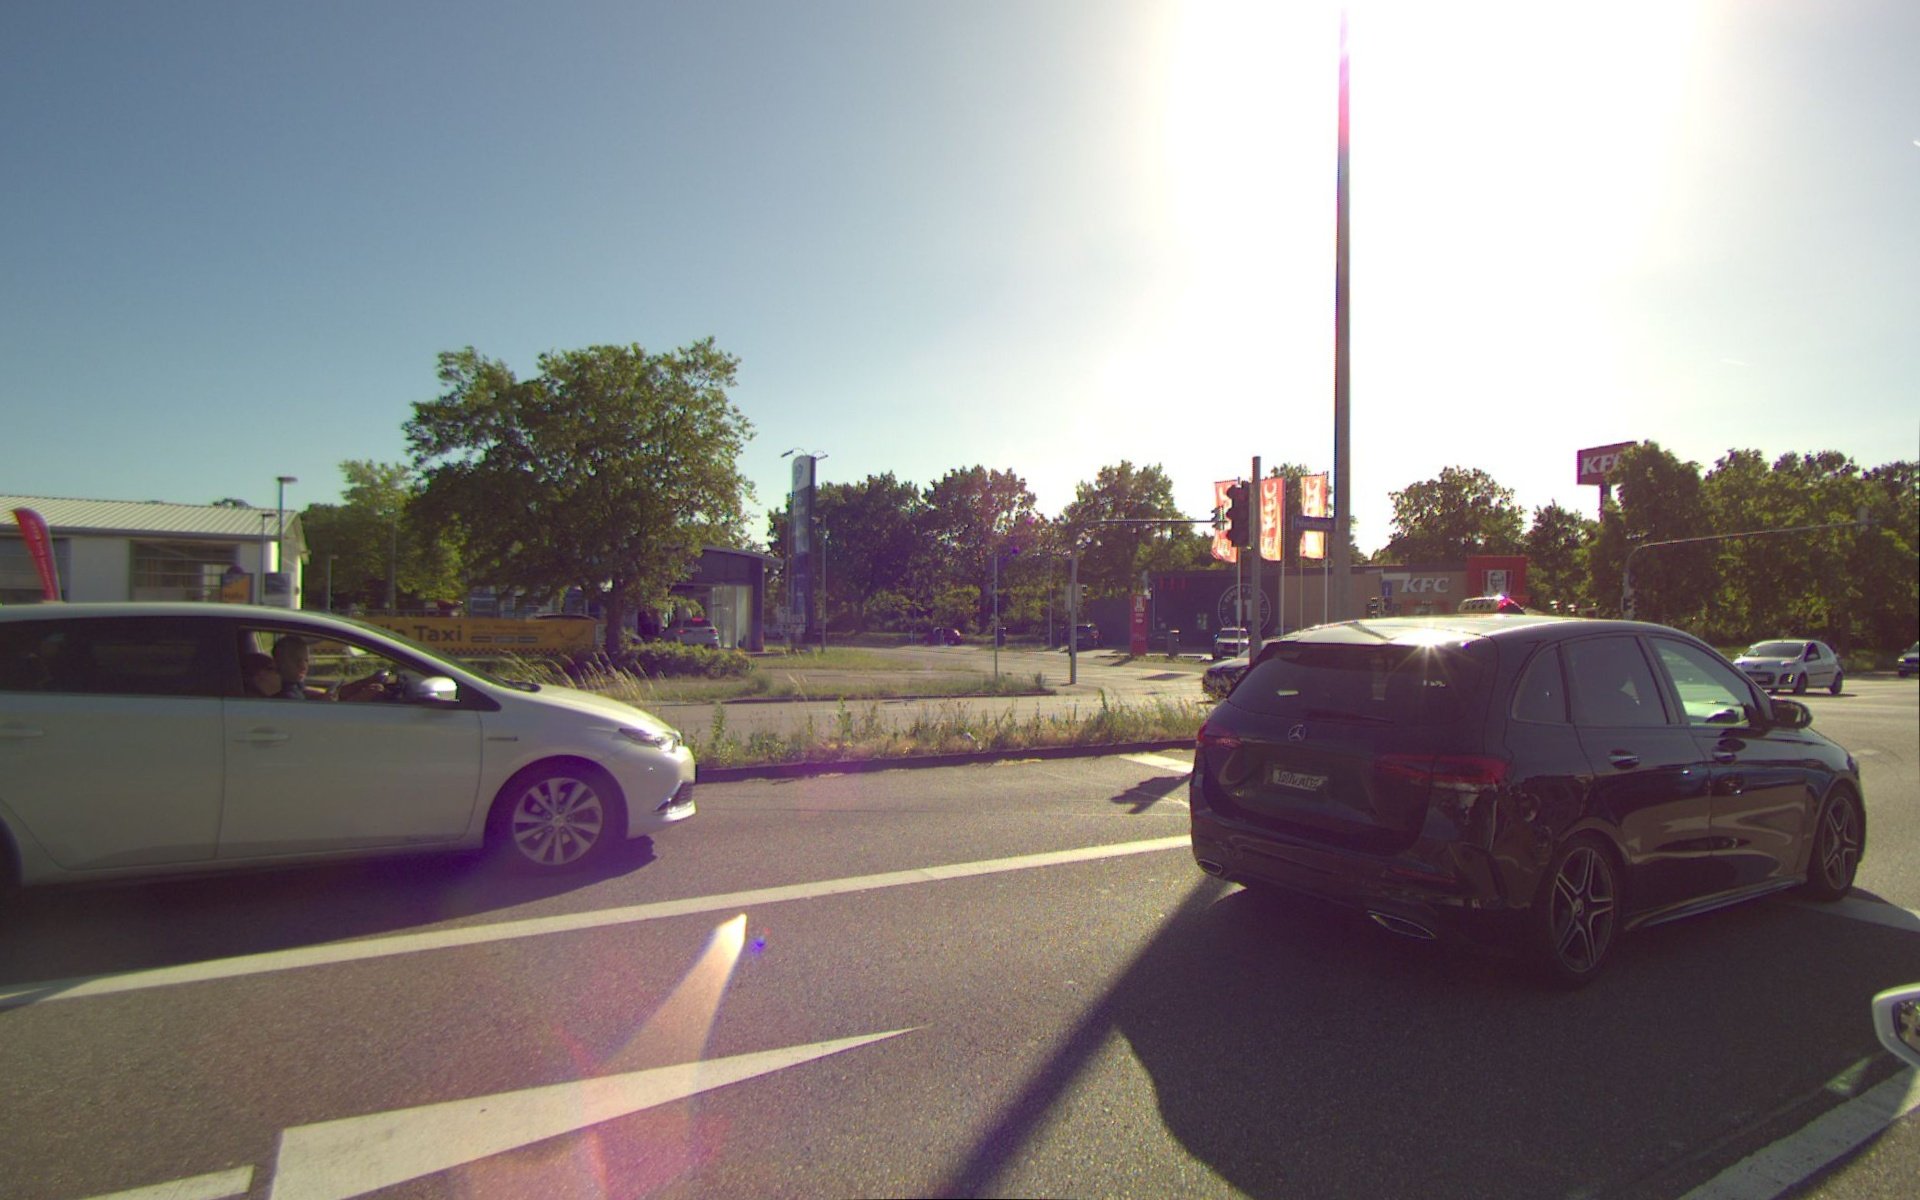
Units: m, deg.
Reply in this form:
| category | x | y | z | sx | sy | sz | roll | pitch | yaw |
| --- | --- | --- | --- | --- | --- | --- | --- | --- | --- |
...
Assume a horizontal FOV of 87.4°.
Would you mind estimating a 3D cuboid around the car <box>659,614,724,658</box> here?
| category | x | y | z | sx | sy | sz | roll | pitch | yaw |
| --- | --- | --- | --- | --- | --- | --- | --- | --- | --- |
| car | -11.162 | 1.468 | 41.605 | 1.840 | 1.613 | 3.973 | 2 | 0 | -26 |

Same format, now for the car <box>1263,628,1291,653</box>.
| category | x | y | z | sx | sy | sz | roll | pitch | yaw |
| --- | --- | --- | --- | --- | --- | --- | --- | --- | --- |
| car | 20.258 | 2.558 | 64.158 | 1.629 | 1.491 | 3.919 | 2 | 0 | 18 |

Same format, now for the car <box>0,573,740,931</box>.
| category | x | y | z | sx | sy | sz | roll | pitch | yaw |
| --- | --- | --- | --- | --- | --- | --- | --- | --- | --- |
| car | -3.532 | 0.673 | 5.585 | 4.150 | 1.510 | 1.750 | 2 | 0 | -32 |

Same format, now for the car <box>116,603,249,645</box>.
| category | x | y | z | sx | sy | sz | roll | pitch | yaw |
| --- | --- | --- | --- | --- | --- | --- | --- | --- | --- |
| car | -31.882 | 0.987 | 41.329 | 3.947 | 1.536 | 1.772 | 2 | 0 | -26 |

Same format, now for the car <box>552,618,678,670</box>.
| category | x | y | z | sx | sy | sz | roll | pitch | yaw |
| --- | --- | --- | --- | --- | --- | --- | --- | --- | --- |
| car | -12.268 | 1.587 | 35.764 | 3.953 | 1.706 | 1.859 | 2 | 0 | -30 |

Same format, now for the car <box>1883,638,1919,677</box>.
| category | x | y | z | sx | sy | sz | roll | pitch | yaw |
| --- | --- | --- | --- | --- | --- | --- | --- | --- | --- |
| car | 43.002 | 2.547 | 44.453 | 4.426 | 1.650 | 1.979 | 2 | -3 | -30 |

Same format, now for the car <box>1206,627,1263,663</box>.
| category | x | y | z | sx | sy | sz | roll | pitch | yaw |
| --- | --- | --- | --- | --- | --- | --- | --- | --- | --- |
| car | 14.721 | 2.371 | 53.702 | 1.964 | 1.788 | 4.349 | 2 | 0 | 29 |

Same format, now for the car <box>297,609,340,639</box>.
| category | x | y | z | sx | sy | sz | roll | pitch | yaw |
| --- | --- | --- | --- | --- | --- | --- | --- | --- | --- |
| car | -32.943 | 1.225 | 51.651 | 1.635 | 1.383 | 3.744 | 2 | 0 | -30 |

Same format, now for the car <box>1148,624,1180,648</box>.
| category | x | y | z | sx | sy | sz | roll | pitch | yaw |
| --- | --- | --- | --- | --- | --- | --- | --- | --- | --- |
| car | 13.426 | 2.350 | 66.005 | 1.629 | 1.491 | 3.919 | 2 | 0 | 18 |

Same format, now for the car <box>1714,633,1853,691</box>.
| category | x | y | z | sx | sy | sz | roll | pitch | yaw |
| --- | --- | --- | --- | --- | --- | --- | --- | --- | --- |
| car | 22.724 | 1.706 | 27.700 | 3.792 | 1.510 | 1.751 | 2 | -3 | -30 |

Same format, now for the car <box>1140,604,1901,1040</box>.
| category | x | y | z | sx | sy | sz | roll | pitch | yaw |
| --- | --- | --- | --- | --- | --- | --- | --- | --- | --- |
| car | 3.203 | 0.854 | 5.435 | 4.355 | 1.510 | 1.749 | 2 | -1 | -33 |

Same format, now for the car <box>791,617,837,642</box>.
| category | x | y | z | sx | sy | sz | roll | pitch | yaw |
| --- | --- | --- | --- | --- | --- | --- | --- | --- | --- |
| car | -12.676 | 2.521 | 87.127 | 3.945 | 1.973 | 1.918 | 2 | 0 | 44 |

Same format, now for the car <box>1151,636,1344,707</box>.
| category | x | y | z | sx | sy | sz | roll | pitch | yaw |
| --- | --- | --- | --- | --- | --- | --- | --- | --- | --- |
| car | 6.694 | 1.623 | 23.242 | 4.426 | 1.510 | 1.751 | 2 | -3 | -31 |

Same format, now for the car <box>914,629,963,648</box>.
| category | x | y | z | sx | sy | sz | roll | pitch | yaw |
| --- | --- | --- | --- | --- | --- | --- | --- | --- | --- |
| car | -1.815 | 3.214 | 84.622 | 3.864 | 1.481 | 1.663 | 0 | -1 | 14 |

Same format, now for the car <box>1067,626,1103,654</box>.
| category | x | y | z | sx | sy | sz | roll | pitch | yaw |
| --- | --- | --- | --- | --- | --- | --- | --- | --- | --- |
| car | 8.379 | 2.658 | 67.214 | 1.629 | 1.695 | 3.945 | 2 | 0 | 18 |
